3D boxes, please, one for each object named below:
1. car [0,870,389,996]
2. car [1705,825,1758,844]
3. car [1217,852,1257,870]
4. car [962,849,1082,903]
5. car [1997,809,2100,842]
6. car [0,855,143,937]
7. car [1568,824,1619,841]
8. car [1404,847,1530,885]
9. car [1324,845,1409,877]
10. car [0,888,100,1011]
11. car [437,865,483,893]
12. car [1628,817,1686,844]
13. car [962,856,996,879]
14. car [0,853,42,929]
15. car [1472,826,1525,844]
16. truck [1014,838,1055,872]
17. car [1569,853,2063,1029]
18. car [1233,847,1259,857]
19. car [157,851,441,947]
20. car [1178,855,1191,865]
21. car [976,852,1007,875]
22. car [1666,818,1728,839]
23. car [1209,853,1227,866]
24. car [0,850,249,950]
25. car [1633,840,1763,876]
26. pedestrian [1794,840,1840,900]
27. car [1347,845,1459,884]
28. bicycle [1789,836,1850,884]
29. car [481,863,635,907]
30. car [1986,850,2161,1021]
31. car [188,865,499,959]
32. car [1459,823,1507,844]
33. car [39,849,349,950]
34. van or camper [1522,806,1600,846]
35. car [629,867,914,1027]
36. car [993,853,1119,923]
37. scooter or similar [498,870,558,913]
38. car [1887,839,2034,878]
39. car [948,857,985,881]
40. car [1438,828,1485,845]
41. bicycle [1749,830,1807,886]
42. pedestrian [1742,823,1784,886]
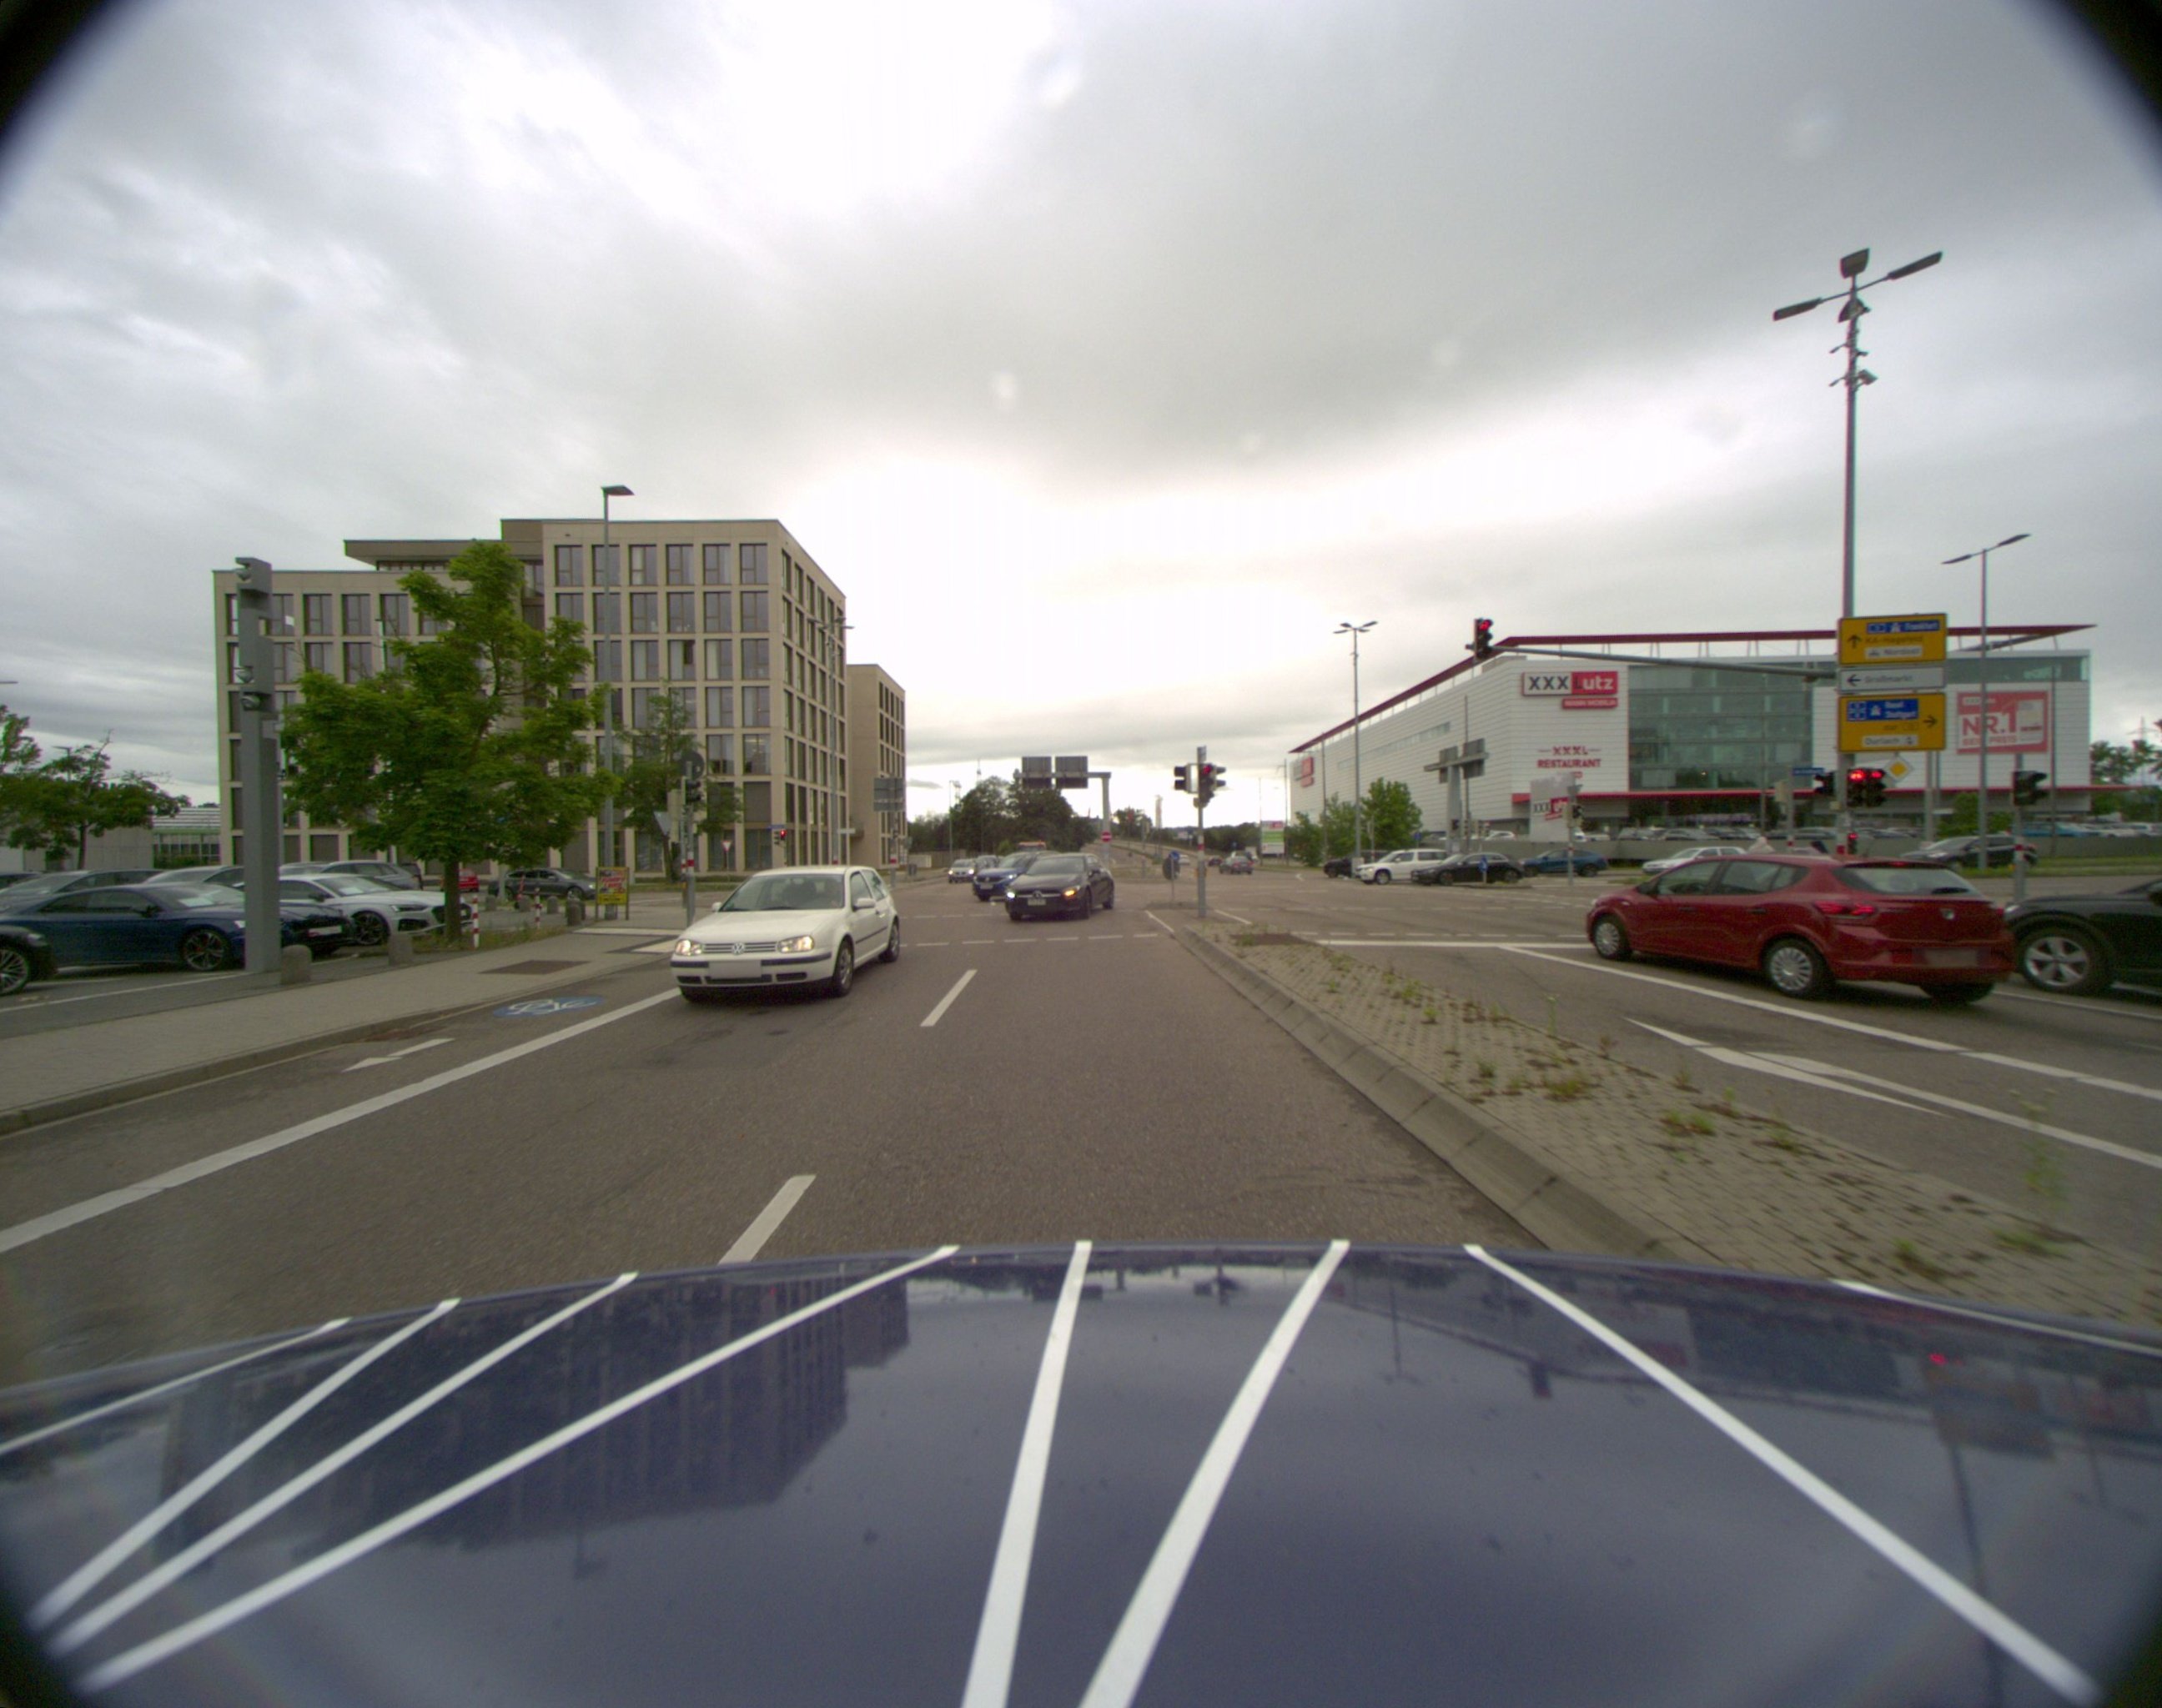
[{"bbox_3d":[-14.367,1.198,12.140,4.514,1.478,2.069,-4,2,-2],"label":"car"},{"bbox_3d":[66.663,-1.978,77.960,1.998,1.728,4.001,-2,-1,0],"label":"car"},{"bbox_3d":[12.587,0.588,61.565,1.817,1.402,4.876,0,-1,-6],"label":"car"},{"bbox_3d":[-1.860,0.713,25.413,1.843,1.612,4.341,-3,-1,29],"label":"car"},{"bbox_3d":[67.496,-1.956,53.107,1.998,2.001,4.001,-2,-1,1],"label":"car"},{"bbox_3d":[-27.045,1.084,18.582,2.053,1.866,4.959,-2,2,-3],"label":"car"},{"bbox_3d":[56.067,-2.368,83.190,4.256,1.665,1.778,-2,-1,3],"label":"car"},{"bbox_3d":[15.974,0.517,31.615,4.254,1.370,1.769,-2,-1,4],"label":"car"},{"bbox_3d":[17.117,0.461,45.655,1.804,1.614,4.364,2,-5,-42],"label":"car"},{"bbox_3d":[-14.499,1.301,8.053,1.891,1.477,4.754,-4,1,0],"label":"car"},{"bbox_3d":[-37.218,1.469,45.510,1.892,1.542,4.122,-2,0,-42],"label":"car"},{"bbox_3d":[47.788,-1.915,63.122,1.868,1.936,3.870,-2,-1,1],"label":"car"},{"bbox_3d":[-7.140,0.941,53.487,1.871,1.481,4.150,-2,-1,-1],"label":"car"},{"bbox_3d":[-29.549,1.082,18.451,1.999,2.002,4.785,-2,2,-3],"label":"car"},{"bbox_3d":[42.354,-1.916,77.143,4.256,1.665,1.778,-2,-1,3],"label":"car"},{"bbox_3d":[-3.846,0.155,64.187,2.819,2.622,6.676,-2,-1,1],"label":"truck"},{"bbox_3d":[7.887,0.778,8.843,1.739,1.479,4.077,0,2,-1],"label":"car"},{"bbox_3d":[28.513,-0.367,131.414,4.192,1.600,1.724,-2,-1,7],"label":"car"},{"bbox_3d":[-18.823,0.956,18.731,1.999,1.852,4.785,-2,2,-1],"label":"car"},{"bbox_3d":[15.805,0.910,115.797,1.832,1.402,4.201,2,-1,9],"label":"car"},{"bbox_3d":[-7.288,0.819,62.196,1.999,1.758,4.150,-2,-1,-1],"label":"car"},{"bbox_3d":[50.954,-2.112,62.927,1.868,1.428,3.995,-2,-1,0],"label":"car"},{"bbox_3d":[18.808,0.776,104.529,1.859,1.652,4.002,-2,-1,3],"label":"car"},{"bbox_3d":[-24.393,1.018,18.680,2.264,2.002,5.036,-2,2,-1],"label":"car"},{"bbox_3d":[27.544,0.188,34.016,4.215,1.407,1.803,-2,-1,3],"label":"car"},{"bbox_3d":[19.385,0.414,20.017,0.652,1.540,0.650,-3,1,25],"label":"pedestrian"},{"bbox_3d":[14.759,0.485,34.965,4.372,1.615,1.800,-2,-1,-3],"label":"car"},{"bbox_3d":[19.329,0.130,19.919,0.507,1.159,1.950,-3,1,26],"label":"bicycle"},{"bbox_3d":[-20.139,1.181,29.387,4.609,1.542,1.985,-1,0,4],"label":"car"},{"bbox_3d":[11.317,0.826,6.476,1.885,1.628,4.332,2,1,-2],"label":"car"},{"bbox_3d":[-14.388,1.089,15.028,4.226,1.477,1.874,-3,1,0],"label":"car"},{"bbox_3d":[42.699,-2.117,80.709,3.996,2.001,2.001,-2,-1,4],"label":"car"},{"bbox_3d":[-21.394,0.967,18.752,1.999,2.002,4.714,-2,2,-1],"label":"car"},{"bbox_3d":[43.367,-2.417,68.921,2.712,3.116,7.239,-2,-1,3],"label":"van or camper"},{"bbox_3d":[-3.472,0.942,9.448,1.837,1.469,4.005,-2,0,0],"label":"car"},{"bbox_3d":[-0.434,0.747,17.810,1.857,1.426,4.202,-1,-1,14],"label":"car"},{"bbox_3d":[-15.968,1.075,21.961,1.557,1.211,0.560,-1,-2,17],"label":"scooter or similar"},{"bbox_3d":[38.716,0.212,33.540,4.215,1.564,1.803,-2,-1,3],"label":"car"},{"bbox_3d":[-7.234,0.982,48.394,1.750,1.423,4.099,-2,-1,-1],"label":"car"},{"bbox_3d":[41.795,-1.944,83.512,4.256,1.665,1.778,-2,-1,3],"label":"car"},{"bbox_3d":[18.237,0.072,19.919,0.595,1.388,1.937,1,2,27],"label":"bicycle"},{"bbox_3d":[17.951,-0.006,20.018,0.639,1.617,0.693,0,3,26],"label":"pedestrian"}]
